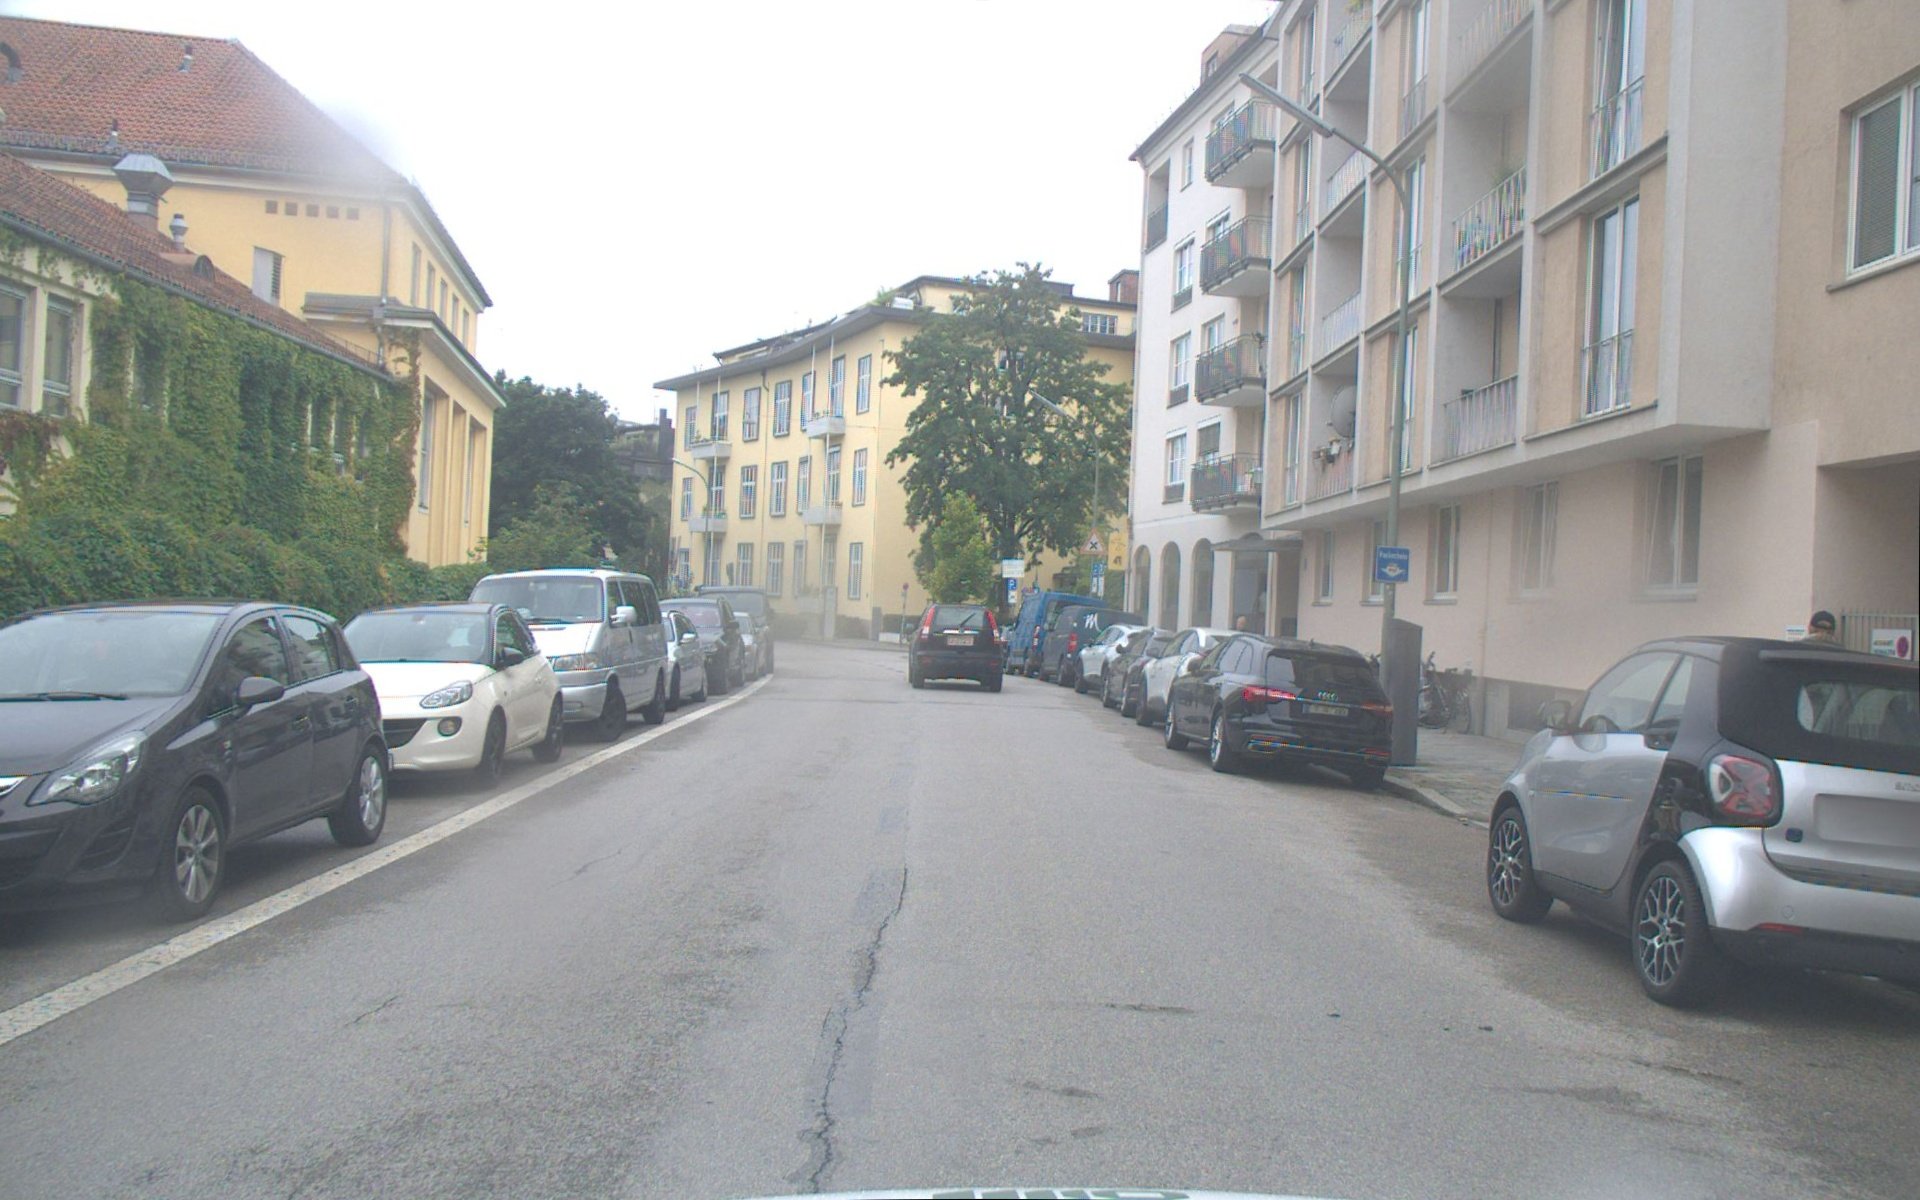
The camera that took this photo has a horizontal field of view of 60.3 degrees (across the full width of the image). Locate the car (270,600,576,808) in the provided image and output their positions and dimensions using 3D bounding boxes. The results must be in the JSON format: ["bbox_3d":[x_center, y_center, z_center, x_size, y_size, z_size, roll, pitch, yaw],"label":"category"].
[{"bbox_3d":[-4.407,0.772,14.123,1.547,1.518,3.728,-1,0,-3],"label":"car"}]

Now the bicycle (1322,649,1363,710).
[{"bbox_3d":[6.950,1.429,30.063,0.382,1.041,1.401,1,0,-1],"label":"bicycle"}]

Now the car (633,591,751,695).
[{"bbox_3d":[-4.795,0.731,30.070,1.587,1.760,4.423,0,0,-2],"label":"car"}]

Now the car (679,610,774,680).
[{"bbox_3d":[-4.931,0.918,35.300,1.587,1.402,4.070,0,0,-2],"label":"car"}]

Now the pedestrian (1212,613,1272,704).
[{"bbox_3d":[5.520,1.135,32.434,0.880,1.717,1.319,2,-1,-2],"label":"pedestrian"}]

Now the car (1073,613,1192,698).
[{"bbox_3d":[3.494,1.093,34.150,1.705,1.564,4.270,1,0,-4],"label":"car"}]

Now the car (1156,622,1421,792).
[{"bbox_3d":[3.485,1.078,18.420,1.761,1.445,4.480,6,0,-3],"label":"car"}]

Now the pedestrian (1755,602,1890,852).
[{"bbox_3d":[6.013,0.865,11.556,0.584,1.683,0.630,1,0,-1],"label":"pedestrian"}]

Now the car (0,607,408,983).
[{"bbox_3d":[-4.235,0.806,8.622,1.547,1.481,3.902,-1,0,-3],"label":"car"}]

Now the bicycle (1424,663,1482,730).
[{"bbox_3d":[7.575,1.471,25.445,0.435,0.952,1.401,1,0,-1],"label":"bicycle"}]

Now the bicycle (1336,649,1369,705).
[{"bbox_3d":[7.631,1.486,32.182,0.366,1.041,1.001,1,0,-2],"label":"bicycle"}]

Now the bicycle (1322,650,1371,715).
[{"bbox_3d":[6.649,1.413,28.515,0.473,1.041,1.401,1,0,-1],"label":"bicycle"}]

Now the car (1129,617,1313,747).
[{"bbox_3d":[3.612,1.091,23.615,1.704,1.525,4.217,4,0,-3],"label":"car"}]

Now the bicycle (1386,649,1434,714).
[{"bbox_3d":[7.610,1.366,28.013,0.382,1.041,1.401,1,0,-1],"label":"bicycle"}]

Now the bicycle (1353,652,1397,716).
[{"bbox_3d":[7.147,1.434,28.515,0.382,1.041,1.401,1,0,-1],"label":"bicycle"}]

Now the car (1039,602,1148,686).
[{"bbox_3d":[3.126,1.008,39.765,1.925,1.848,4.932,1,0,-3],"label":"car"}]

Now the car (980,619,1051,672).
[{"bbox_3d":[1.681,1.381,51.277,1.671,1.544,3.953,1,0,-6],"label":"car"}]

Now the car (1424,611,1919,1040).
[{"bbox_3d":[3.786,0.929,8.376,1.638,1.561,3.880,5,0,-1],"label":"car"}]

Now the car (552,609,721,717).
[{"bbox_3d":[-4.763,0.878,24.947,1.666,1.447,4.424,-1,0,0],"label":"car"}]

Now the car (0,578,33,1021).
[{"bbox_3d":[-4.189,0.728,3.955,1.746,1.565,4.146,-1,0,-3],"label":"car"}]

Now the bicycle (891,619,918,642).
[{"bbox_3d":[-2.849,1.566,85.101,0.600,1.091,2.200,2,0,-24],"label":"bicycle"}]

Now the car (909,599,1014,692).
[{"bbox_3d":[0.054,0.869,33.755,1.954,1.724,4.380,1,0,1],"label":"car"}]

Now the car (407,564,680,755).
[{"bbox_3d":[-4.643,0.616,19.211,1.953,1.908,4.758,-1,0,0],"label":"car"}]

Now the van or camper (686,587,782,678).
[{"bbox_3d":[-5.439,0.750,40.294,1.921,2.101,4.750,0,0,-3],"label":"van or camper"}]

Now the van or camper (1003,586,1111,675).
[{"bbox_3d":[2.594,0.794,45.594,2.021,2.270,5.430,1,0,-7],"label":"van or camper"}]

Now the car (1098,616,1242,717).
[{"bbox_3d":[3.528,1.077,28.531,1.704,1.525,4.493,1,0,-3],"label":"car"}]

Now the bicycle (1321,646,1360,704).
[{"bbox_3d":[7.247,1.427,31.567,0.382,1.041,1.401,1,0,-1],"label":"bicycle"}]

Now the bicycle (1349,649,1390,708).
[{"bbox_3d":[7.657,1.451,30.967,0.382,1.041,1.401,1,0,-1],"label":"bicycle"}]
